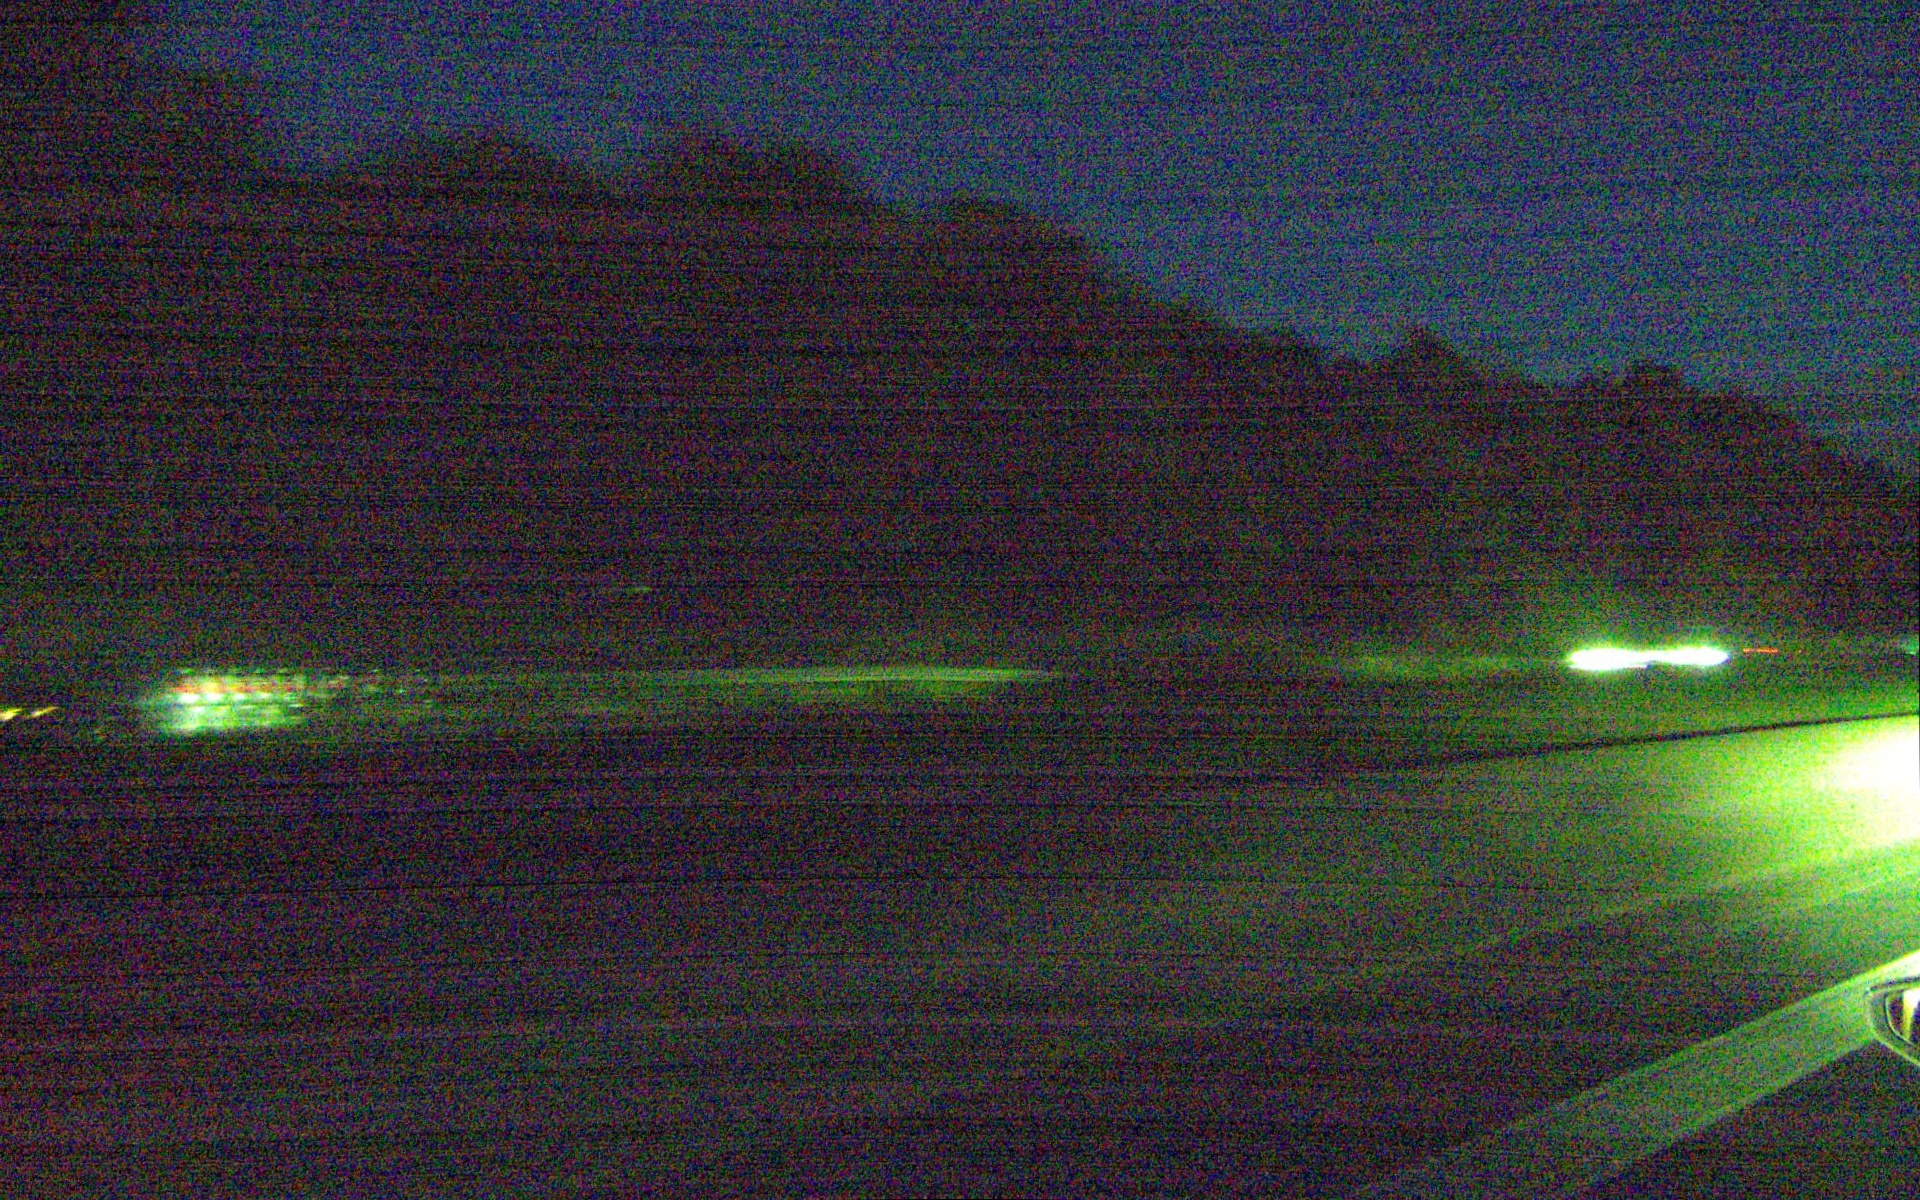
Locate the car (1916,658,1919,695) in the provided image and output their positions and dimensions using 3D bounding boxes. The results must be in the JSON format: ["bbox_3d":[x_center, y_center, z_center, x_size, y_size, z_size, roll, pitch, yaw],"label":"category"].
[{"bbox_3d":[43.259,3.401,43.454,4.420,1.571,1.629,3,-1,-31],"label":"car"}]

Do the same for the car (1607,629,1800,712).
[{"bbox_3d":[17.453,1.648,23.510,5.111,1.706,1.783,3,-1,-31],"label":"car"}]

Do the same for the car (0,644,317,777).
[{"bbox_3d":[-9.942,1.268,12.136,3.587,1.350,1.418,1,1,-31],"label":"car"}]
